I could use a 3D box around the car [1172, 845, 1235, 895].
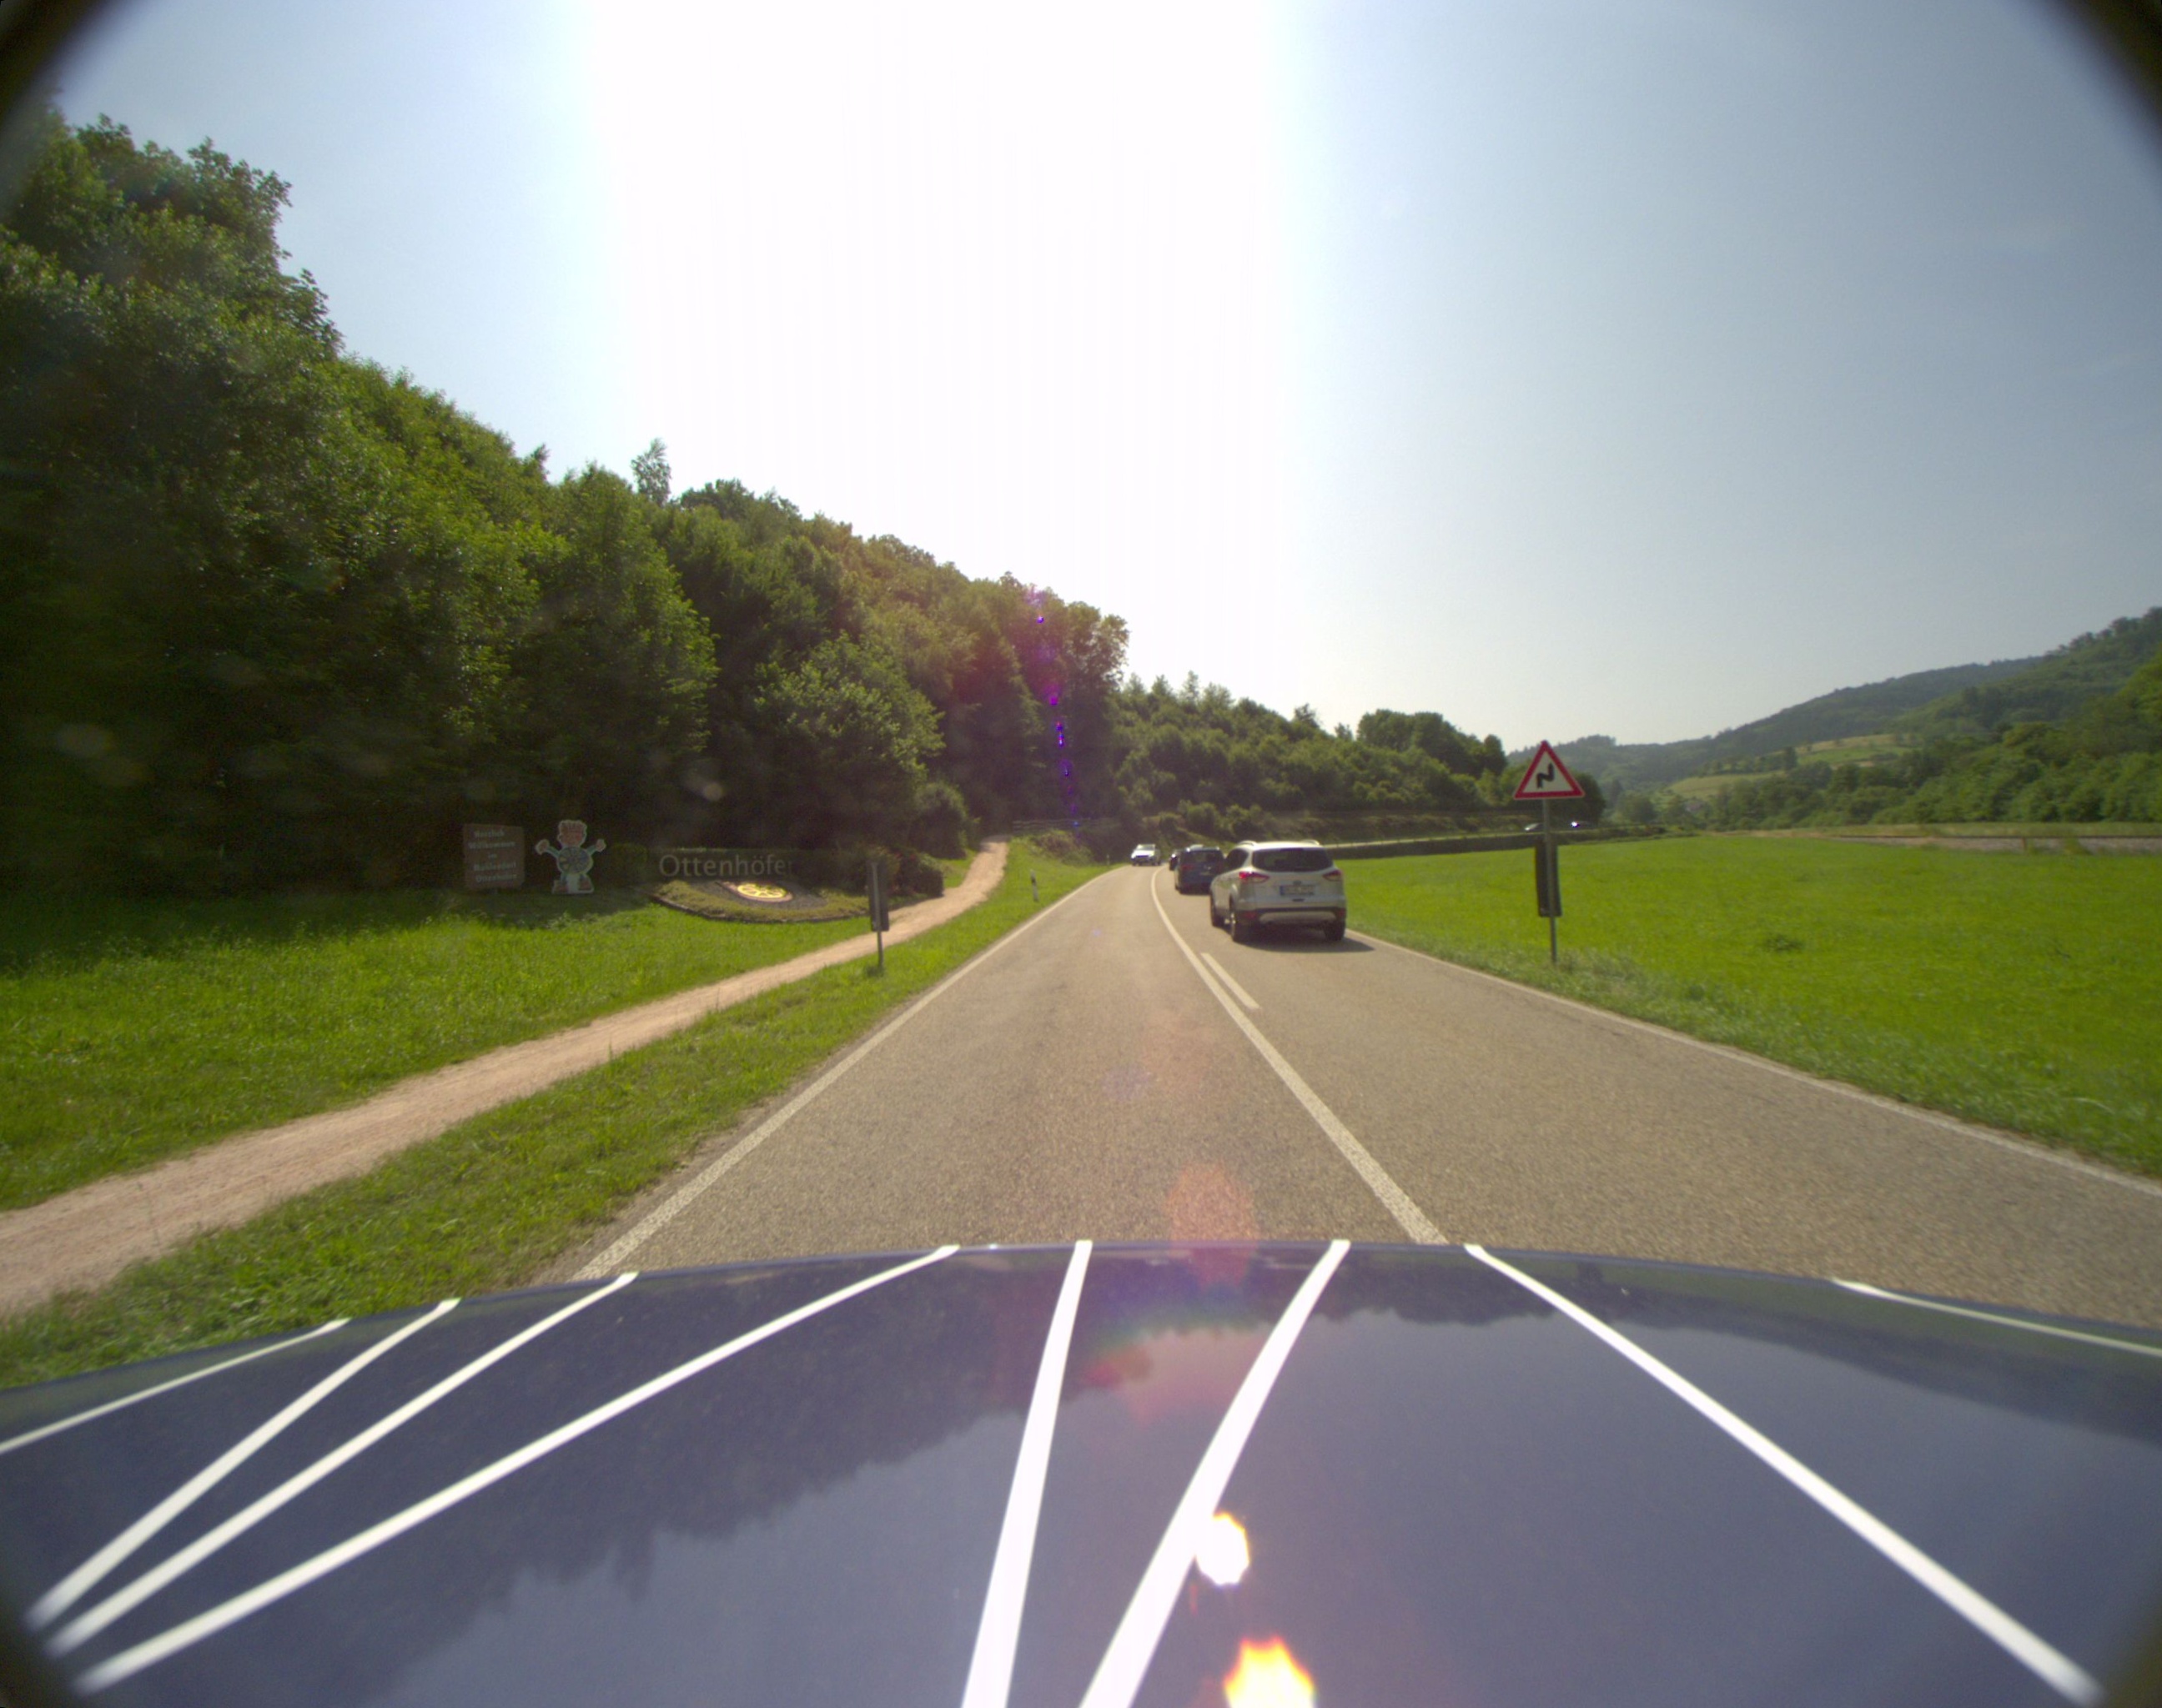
[{"bbox_3d":[4.459,0.518,28.249,1.870,1.614,4.511,-3,1,5],"label":"car"}]

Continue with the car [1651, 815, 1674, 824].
[{"bbox_3d":[120.064,-7.139,156.781,4.903,1.730,1.951,-2,1,-29],"label":"car"}]

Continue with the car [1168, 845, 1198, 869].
[{"bbox_3d":[7.267,0.177,53.680,1.920,1.462,4.513,-2,1,9],"label":"car"}]

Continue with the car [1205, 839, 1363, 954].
[{"bbox_3d":[3.457,0.667,13.778,1.919,1.704,4.160,-2,0,3],"label":"car"}]

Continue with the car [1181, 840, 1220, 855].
[{"bbox_3d":[12.930,-0.711,82.010,2.142,1.482,4.681,-2,0,37],"label":"car"}]

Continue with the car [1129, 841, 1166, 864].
[{"bbox_3d":[5.670,-0.161,64.204,2.115,1.803,4.461,-2,0,18],"label":"car"}]
